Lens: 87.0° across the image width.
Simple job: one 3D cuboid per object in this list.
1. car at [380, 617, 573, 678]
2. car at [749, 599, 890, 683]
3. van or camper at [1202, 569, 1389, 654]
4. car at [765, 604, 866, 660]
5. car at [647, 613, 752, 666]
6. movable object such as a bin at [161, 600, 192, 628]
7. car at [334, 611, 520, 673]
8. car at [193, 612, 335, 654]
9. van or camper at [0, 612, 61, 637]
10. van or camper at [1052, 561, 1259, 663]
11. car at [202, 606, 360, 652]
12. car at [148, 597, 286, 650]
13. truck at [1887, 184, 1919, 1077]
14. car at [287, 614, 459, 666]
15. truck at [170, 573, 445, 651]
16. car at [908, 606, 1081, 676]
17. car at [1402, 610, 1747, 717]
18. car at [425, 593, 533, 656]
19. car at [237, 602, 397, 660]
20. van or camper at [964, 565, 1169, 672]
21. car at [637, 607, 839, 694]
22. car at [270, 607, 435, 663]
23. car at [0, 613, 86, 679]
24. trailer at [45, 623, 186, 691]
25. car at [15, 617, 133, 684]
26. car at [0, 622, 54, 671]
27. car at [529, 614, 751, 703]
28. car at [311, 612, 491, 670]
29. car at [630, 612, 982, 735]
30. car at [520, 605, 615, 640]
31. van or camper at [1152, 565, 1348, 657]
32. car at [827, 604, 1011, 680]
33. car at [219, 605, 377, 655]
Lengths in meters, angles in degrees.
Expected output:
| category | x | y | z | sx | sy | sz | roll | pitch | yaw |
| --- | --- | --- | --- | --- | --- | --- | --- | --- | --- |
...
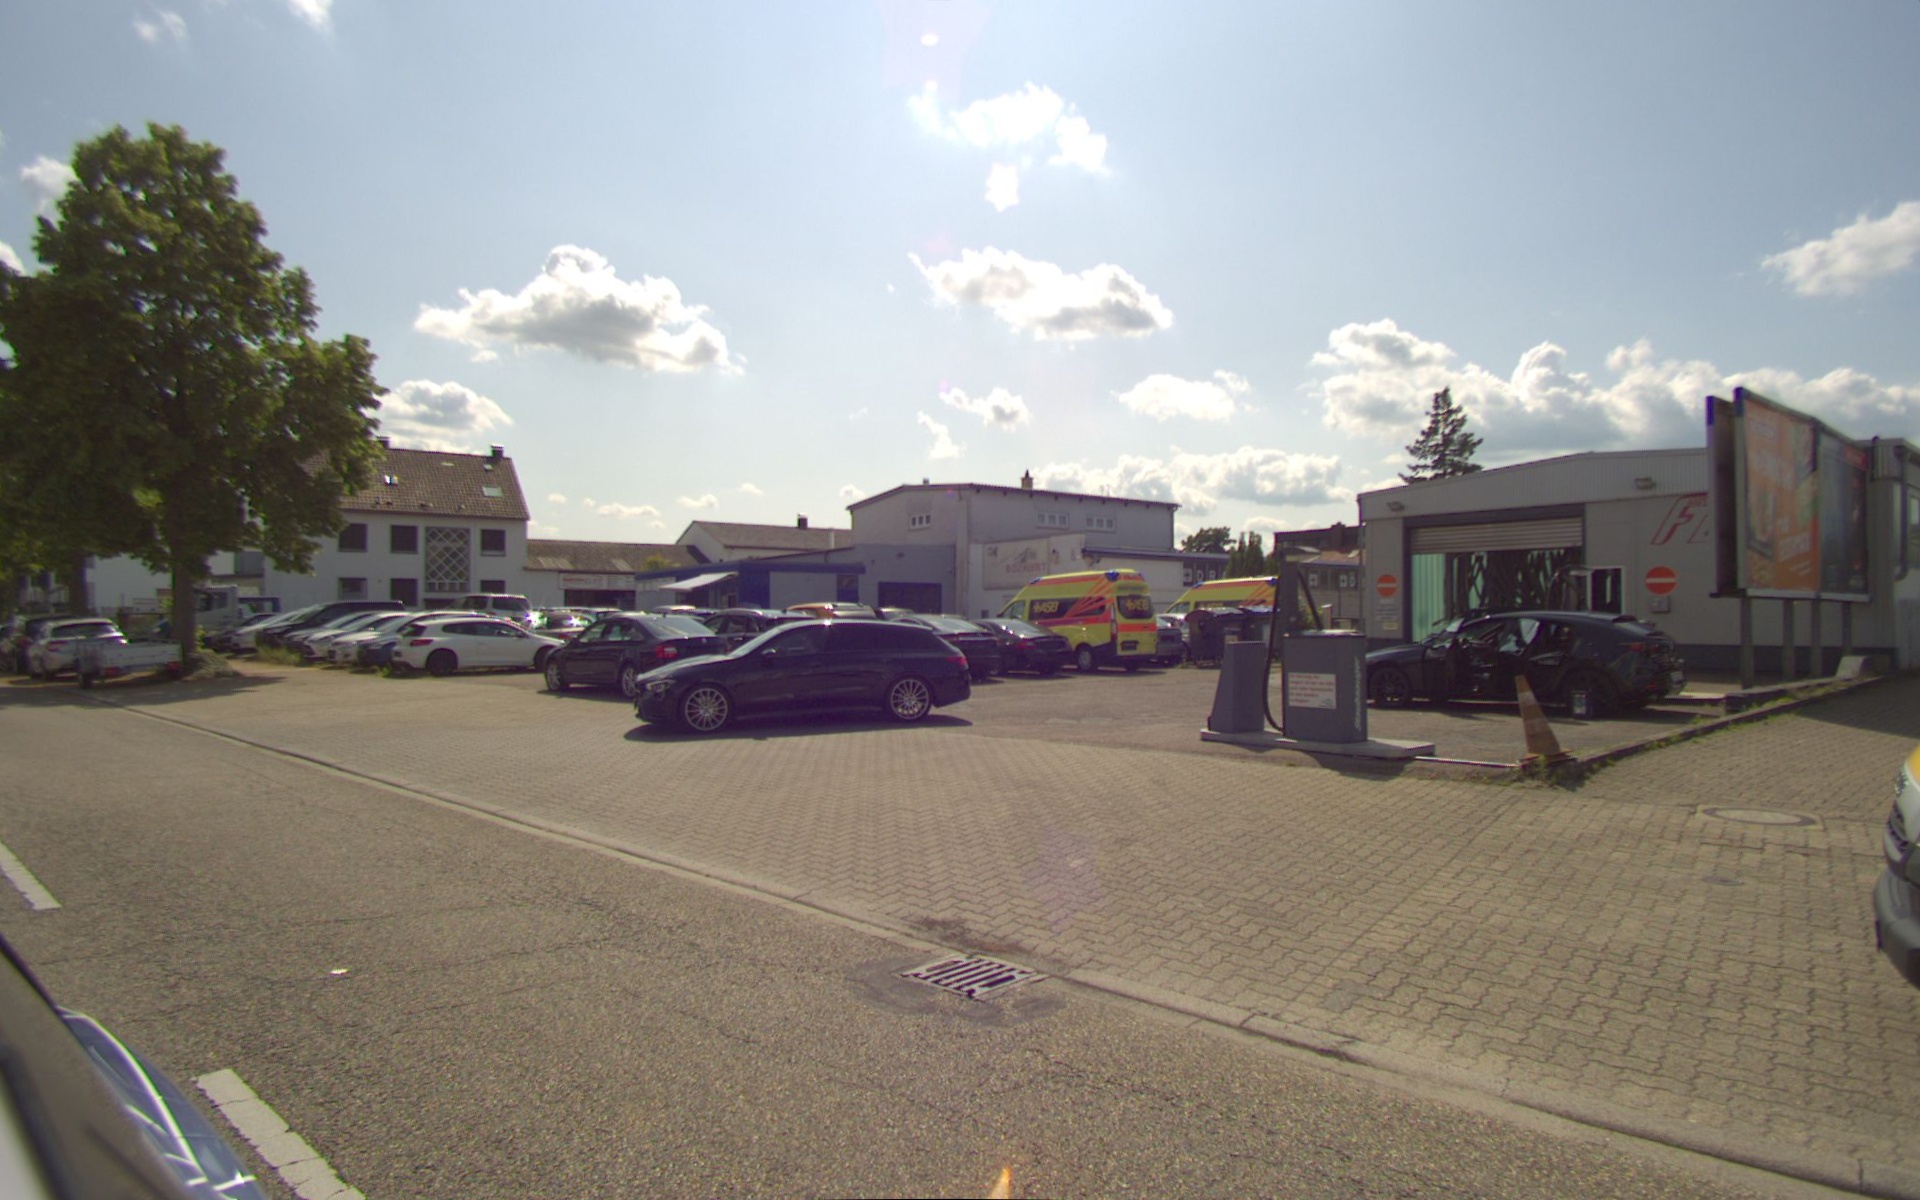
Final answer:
| category | x | y | z | sx | sy | sz | roll | pitch | yaw |
| --- | --- | --- | --- | --- | --- | --- | --- | --- | --- |
| car | -12.047 | 1.130 | 25.358 | 1.828 | 1.384 | 3.980 | 0 | -1 | 45 |
| car | -3.075 | 0.846 | 21.775 | 1.425 | 1.668 | 3.305 | 1 | -1 | -42 |
| van or camper | 10.551 | 0.403 | 32.220 | 1.969 | 2.494 | 5.367 | 0 | -2 | -42 |
| car | -5.252 | 1.121 | 36.488 | 1.690 | 1.910 | 4.005 | 1 | -1 | -42 |
| car | -8.613 | 1.259 | 33.295 | 1.690 | 1.650 | 4.005 | 1 | -1 | -42 |
| movable object such as a bin | -44.940 | 0.796 | 58.068 | 1.291 | 1.443 | 1.607 | 0 | -7 | -33 |
| car | -14.071 | 1.064 | 26.855 | 1.827 | 1.501 | 3.982 | 0 | -1 | 43 |
| car | -26.313 | 1.259 | 38.368 | 1.678 | 1.470 | 4.152 | -2 | -3 | 42 |
| van or camper | -62.783 | 1.613 | 68.096 | 1.751 | 1.554 | 4.011 | -1 | 1 | -14 |
| van or camper | 5.153 | 0.364 | 27.363 | 1.969 | 2.494 | 5.367 | 0 | -2 | -42 |
| car | -24.646 | 1.077 | 36.868 | 1.827 | 1.594 | 4.476 | -2 | -3 | 42 |
| car | -33.513 | 1.016 | 45.761 | 4.935 | 2.248 | 2.004 | 0 | 0 | -37 |
| truck | 6.358 | 0.072 | 1.649 | 7.067 | 2.878 | 2.197 | -1 | 1 | 42 |
| car | -17.464 | 1.140 | 30.258 | 1.827 | 1.441 | 4.099 | 0 | -1 | 43 |
| truck | -26.572 | 0.547 | 41.686 | 2.721 | 2.878 | 9.153 | -2 | -2 | 44 |
| car | 0.756 | 0.949 | 24.399 | 1.733 | 1.545 | 4.168 | 2 | -2 | -43 |
| car | 8.585 | 0.847 | 14.400 | 1.867 | 1.300 | 3.757 | 0 | -2 | -38 |
| car | -16.295 | 0.818 | 34.217 | 3.994 | 2.029 | 1.694 | -1 | -1 | 38 |
| car | -21.100 | 0.984 | 33.314 | 1.827 | 1.802 | 4.099 | 0 | -1 | 43 |
| van or camper | 2.634 | 0.512 | 26.375 | 1.969 | 2.494 | 5.367 | 0 | -2 | -42 |
| car | -4.493 | 0.933 | 20.128 | 4.254 | 1.545 | 1.736 | -1 | -1 | 41 |
| car | -19.006 | 1.064 | 31.770 | 1.827 | 1.631 | 4.099 | 0 | -1 | 43 |
| car | -27.174 | 1.292 | 29.640 | 4.396 | 1.713 | 1.676 | -1 | 1 | 40 |
| trailer | -19.511 | 1.236 | 23.317 | 4.505 | 1.299 | 1.744 | -1 | 2 | 41 |
| car | -23.117 | 1.254 | 26.363 | 4.236 | 1.539 | 1.814 | -1 | 1 | 42 |
| car | -30.922 | 1.479 | 33.066 | 4.160 | 1.495 | 1.680 | -1 | -1 | 44 |
| car | -5.957 | 0.994 | 18.538 | 4.581 | 1.421 | 1.736 | -1 | -1 | 41 |
| car | -15.708 | 1.096 | 28.595 | 1.827 | 1.501 | 4.099 | 0 | -1 | 43 |
| car | -2.171 | 0.926 | 14.116 | 4.515 | 1.405 | 2.006 | -1 | 0 | -16 |
| car | -21.151 | 1.175 | 54.654 | 4.421 | 1.805 | 2.005 | 0 | 0 | -37 |
| van or camper | 8.552 | 0.377 | 30.317 | 1.969 | 2.494 | 5.367 | 0 | -2 | -42 |
| car | -0.982 | 0.911 | 22.706 | 4.165 | 1.545 | 1.734 | -1 | -2 | 44 |
| car | -22.988 | 1.023 | 35.263 | 1.825 | 1.627 | 4.252 | -2 | -2 | 39 |
